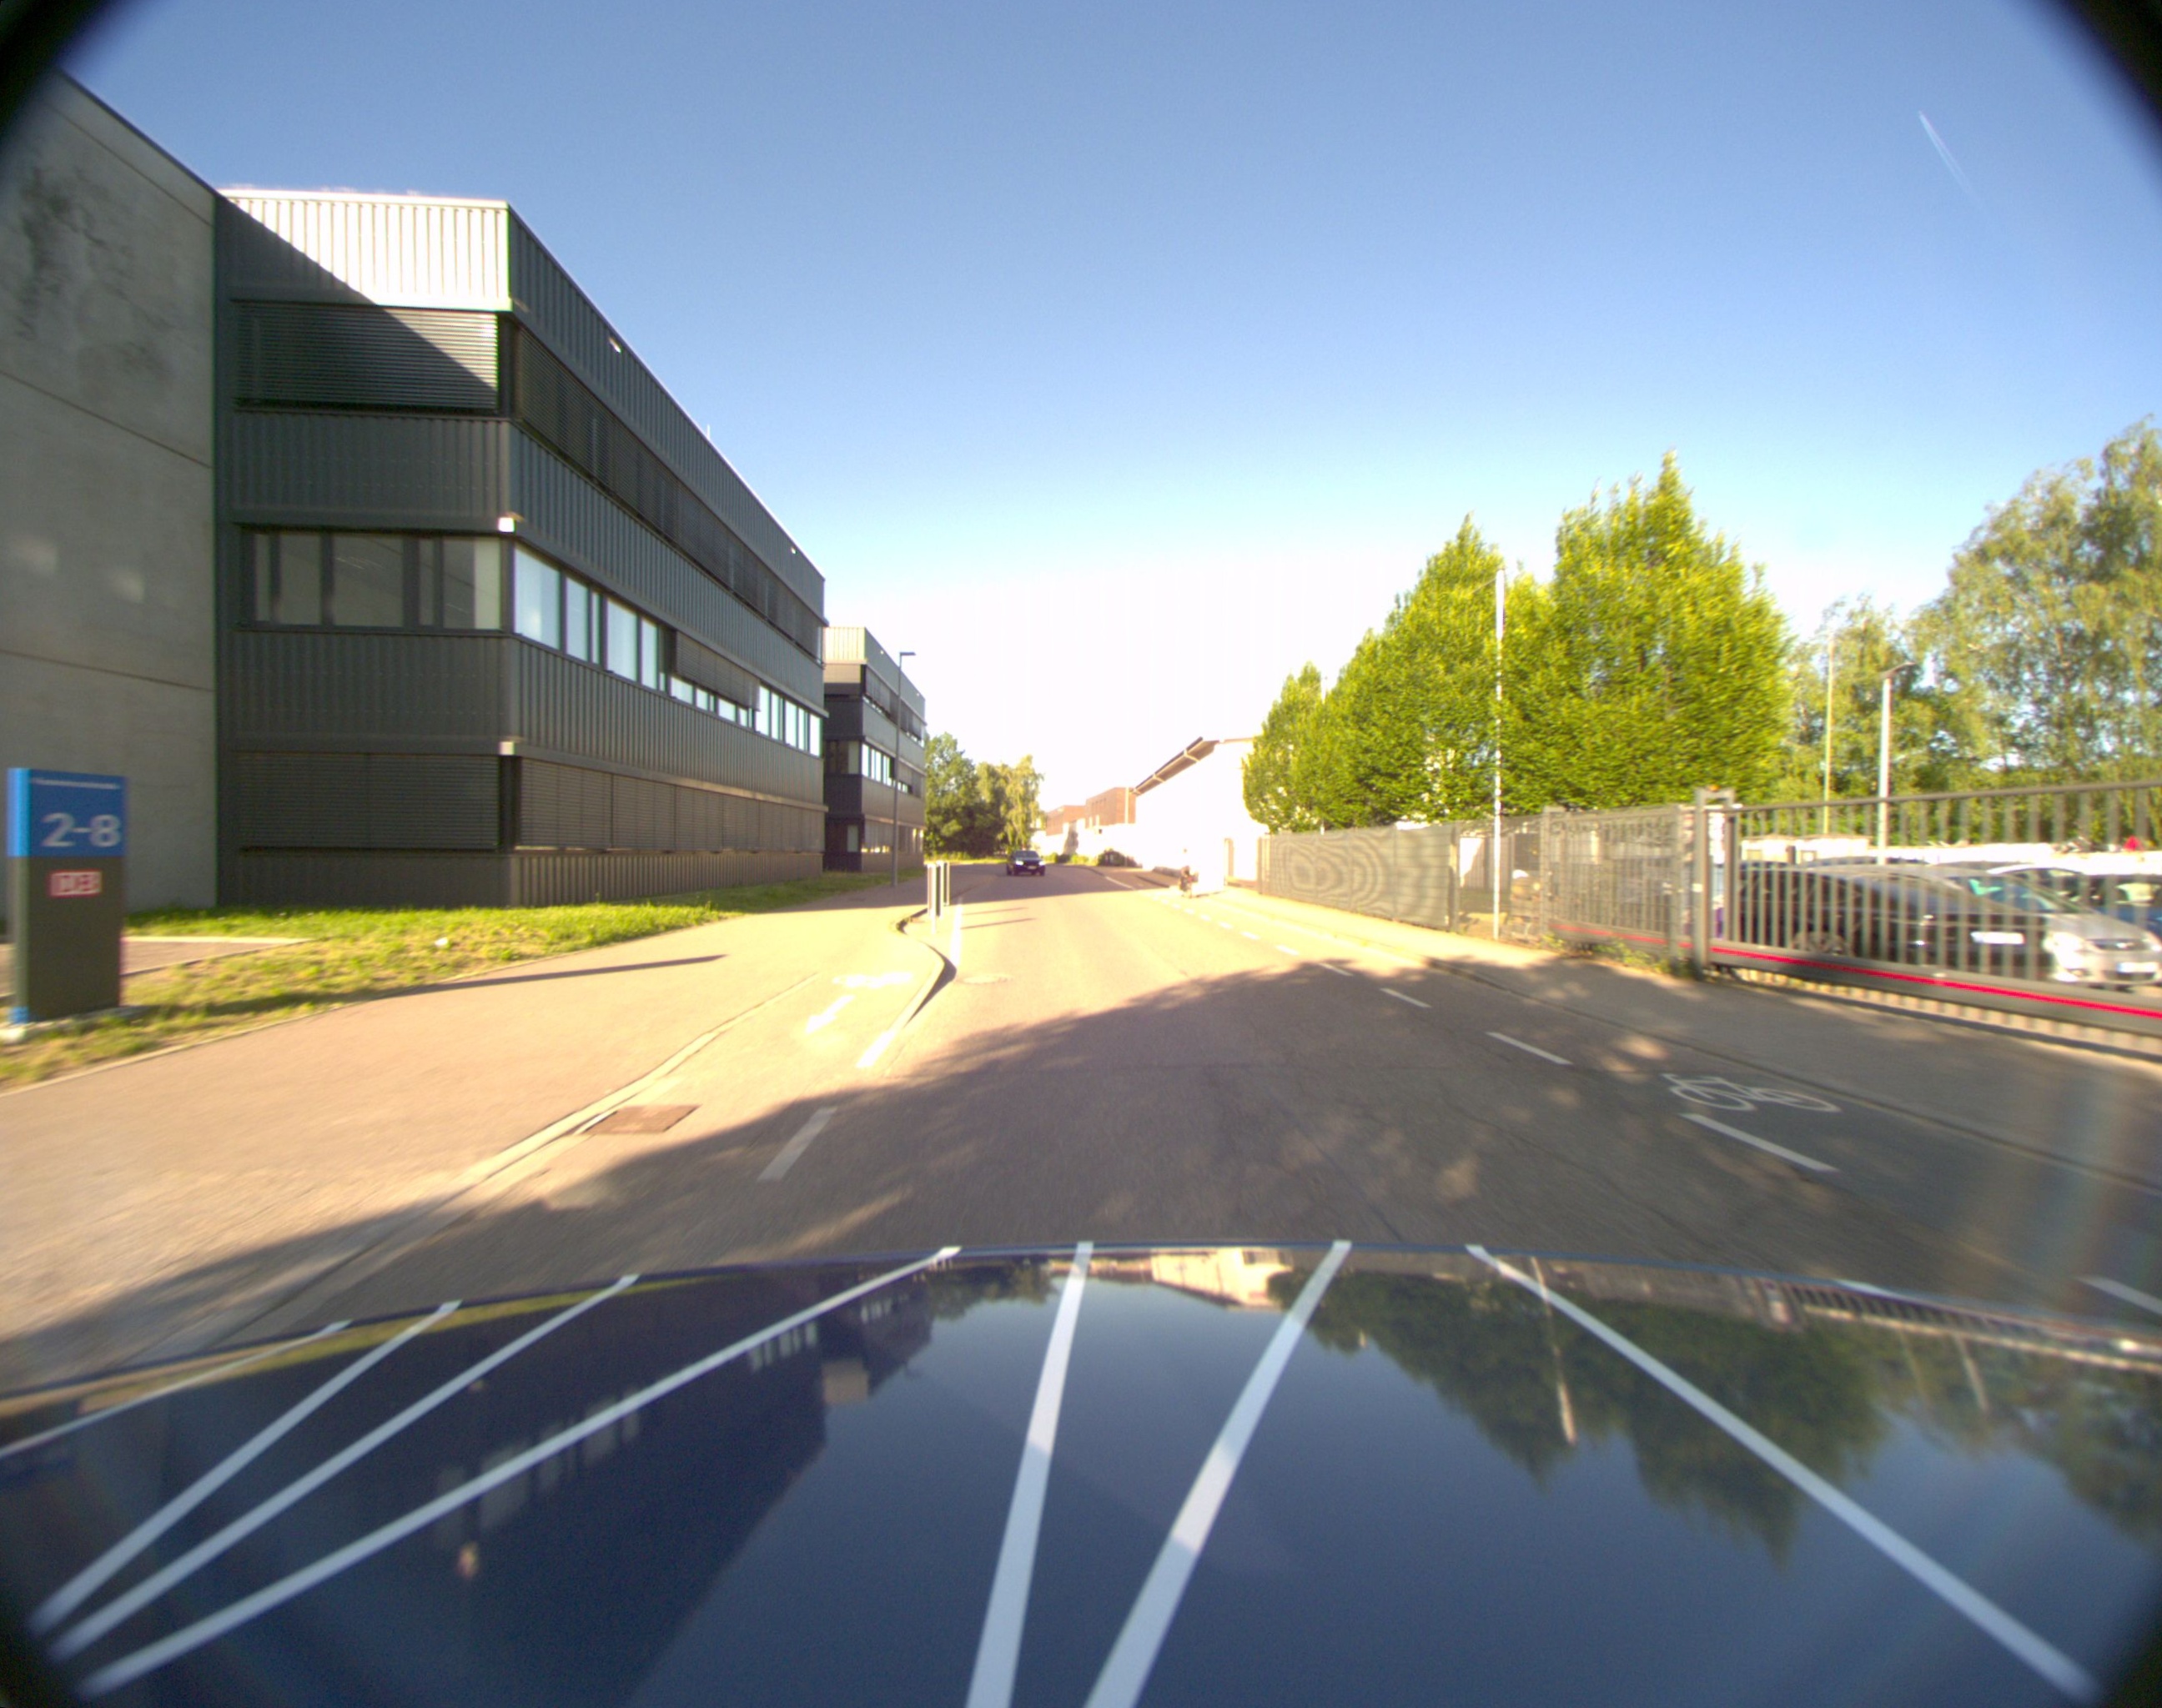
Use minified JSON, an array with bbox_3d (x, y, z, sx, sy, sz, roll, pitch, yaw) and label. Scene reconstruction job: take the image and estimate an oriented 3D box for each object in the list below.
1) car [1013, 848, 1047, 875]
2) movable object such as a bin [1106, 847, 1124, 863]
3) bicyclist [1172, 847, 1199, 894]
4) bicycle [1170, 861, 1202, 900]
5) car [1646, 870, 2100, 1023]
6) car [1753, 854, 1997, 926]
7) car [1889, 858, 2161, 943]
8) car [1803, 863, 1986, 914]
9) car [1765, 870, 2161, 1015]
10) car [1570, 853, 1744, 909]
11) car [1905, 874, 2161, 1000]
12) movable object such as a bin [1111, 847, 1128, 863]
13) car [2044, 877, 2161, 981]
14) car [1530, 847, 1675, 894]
[{"bbox_3d":[-3.448,0.446,50.363,2.038,1.623,4.609,1,1,-6],"label":"car"},{"bbox_3d":[3.169,0.082,70.673,1.365,1.463,1.287,0,1,-14],"label":"movable object such as a bin"},{"bbox_3d":[3.660,0.572,26.721,0.748,1.619,0.833,1,1,-4],"label":"bicyclist"},{"bbox_3d":[3.667,0.905,26.736,0.669,1.281,2.171,1,1,-4],"label":"bicycle"},{"bbox_3d":[10.280,1.075,10.422,1.875,1.531,3.998,2,1,-4],"label":"car"},{"bbox_3d":[19.178,0.832,18.491,3.998,1.531,1.875,2,1,-2],"label":"car"},{"bbox_3d":[19.641,0.919,15.648,3.998,1.531,1.875,2,1,-2],"label":"car"},{"bbox_3d":[26.829,1.078,25.278,1.780,1.449,4.000,1,1,1],"label":"car"},{"bbox_3d":[12.897,1.126,11.175,1.875,1.597,3.998,2,1,-4],"label":"car"},{"bbox_3d":[17.967,0.810,23.835,3.998,1.531,1.875,2,1,-2],"label":"car"},{"bbox_3d":[15.278,1.180,11.142,1.875,1.568,3.998,2,1,-4],"label":"car"},{"bbox_3d":[3.496,0.101,69.329,1.203,1.463,1.371,0,1,-14],"label":"movable object such as a bin"},{"bbox_3d":[18.021,1.242,11.413,1.875,1.582,3.998,2,1,-4],"label":"car"},{"bbox_3d":[19.000,0.591,27.808,3.998,1.531,1.875,2,1,-2],"label":"car"}]
